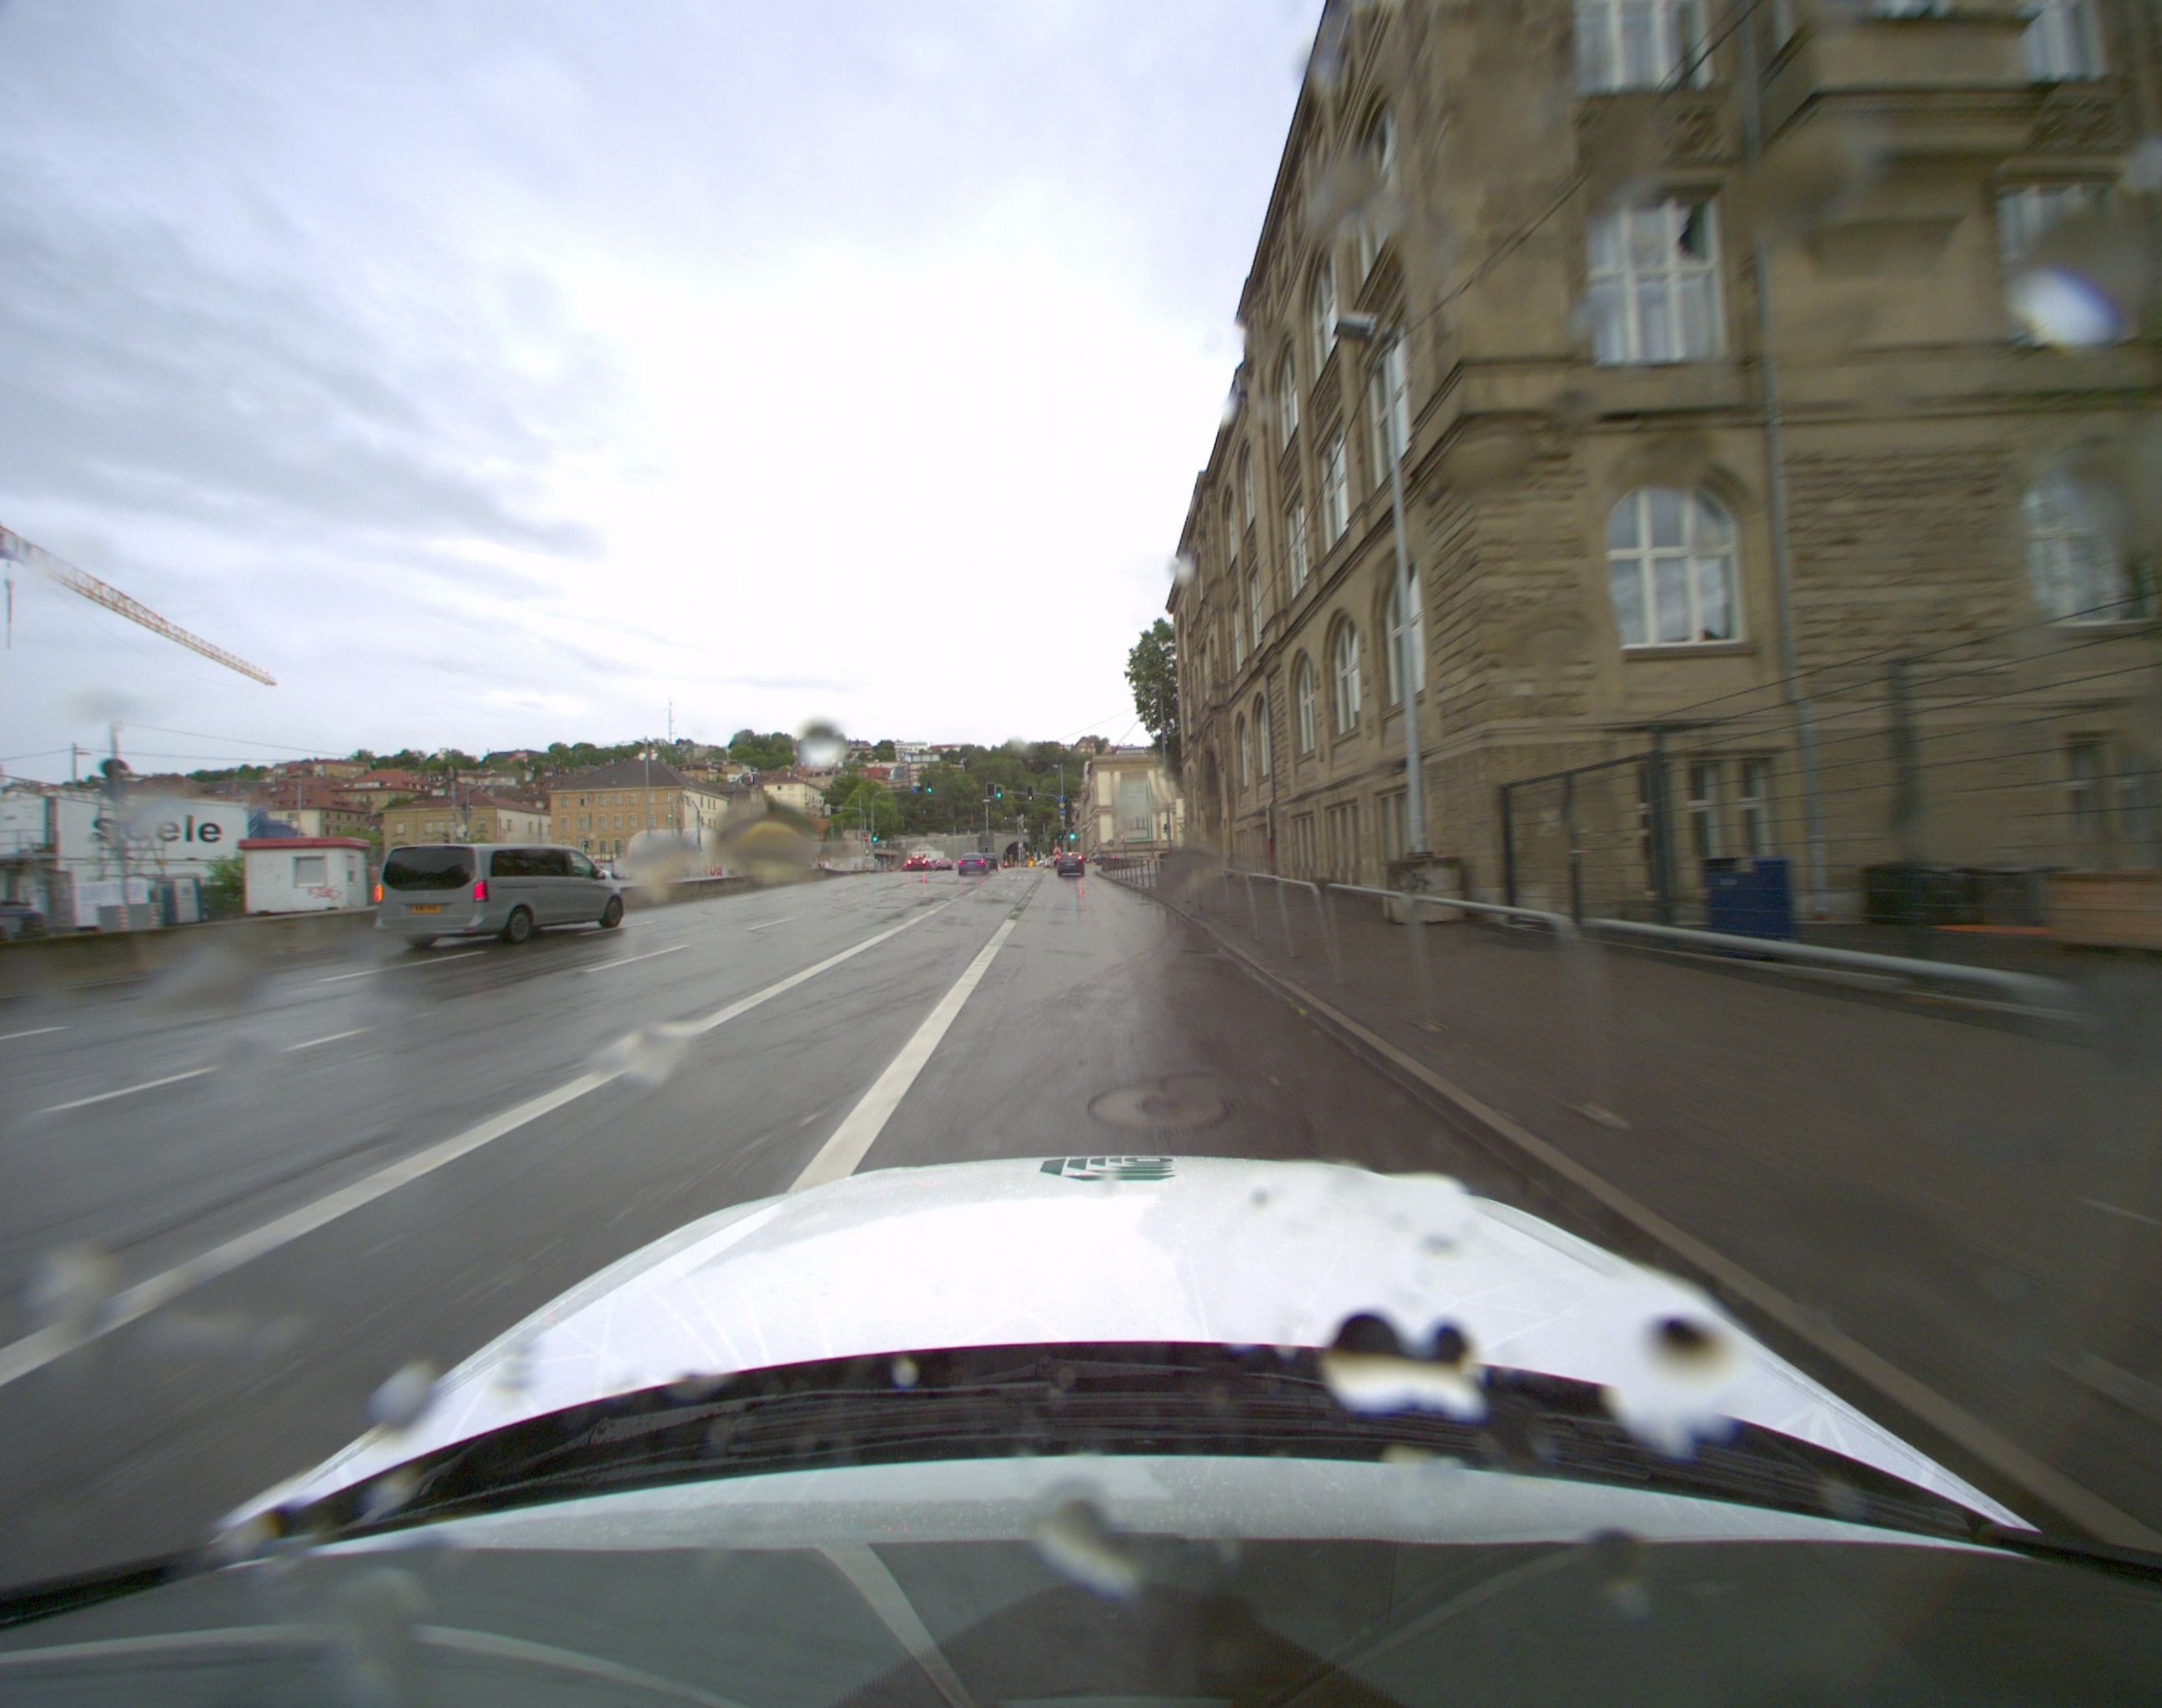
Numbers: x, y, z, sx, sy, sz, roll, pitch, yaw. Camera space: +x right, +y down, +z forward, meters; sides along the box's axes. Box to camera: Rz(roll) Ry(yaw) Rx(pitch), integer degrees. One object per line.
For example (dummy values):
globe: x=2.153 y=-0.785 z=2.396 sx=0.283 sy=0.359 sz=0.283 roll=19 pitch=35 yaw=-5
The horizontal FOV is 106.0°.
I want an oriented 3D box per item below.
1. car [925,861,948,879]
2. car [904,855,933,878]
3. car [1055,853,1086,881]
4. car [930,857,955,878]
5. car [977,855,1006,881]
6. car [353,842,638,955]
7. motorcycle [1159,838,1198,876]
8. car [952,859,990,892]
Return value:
car: x=-17.803 y=2.002 z=100.701 sx=1.987 sy=2.014 sz=3.998 roll=-3 pitch=-3 yaw=0
car: x=-15.441 y=1.219 z=77.508 sx=2.012 sy=2.014 sz=3.995 roll=-3 pitch=-3 yaw=-3
car: x=-0.623 y=0.850 z=50.764 sx=1.806 sy=1.527 sz=3.998 roll=-3 pitch=-2 yaw=0
car: x=-14.613 y=1.439 z=86.259 sx=2.047 sy=2.014 sz=3.994 roll=-3 pitch=-3 yaw=-4
car: x=-7.598 y=1.185 z=69.352 sx=1.768 sy=2.014 sz=4.003 roll=-3 pitch=-3 yaw=3
car: x=-11.259 y=0.830 z=16.333 sx=1.989 sy=1.856 sz=5.351 roll=-1 pitch=-2 yaw=-2
motorcycle: x=5.600 y=0.169 z=47.205 sx=1.789 sy=2.013 sz=3.814 roll=-2 pitch=0 yaw=1
car: x=-7.372 y=1.491 z=55.041 sx=2.100 sy=2.051 sz=3.995 roll=-3 pitch=-3 yaw=-3
